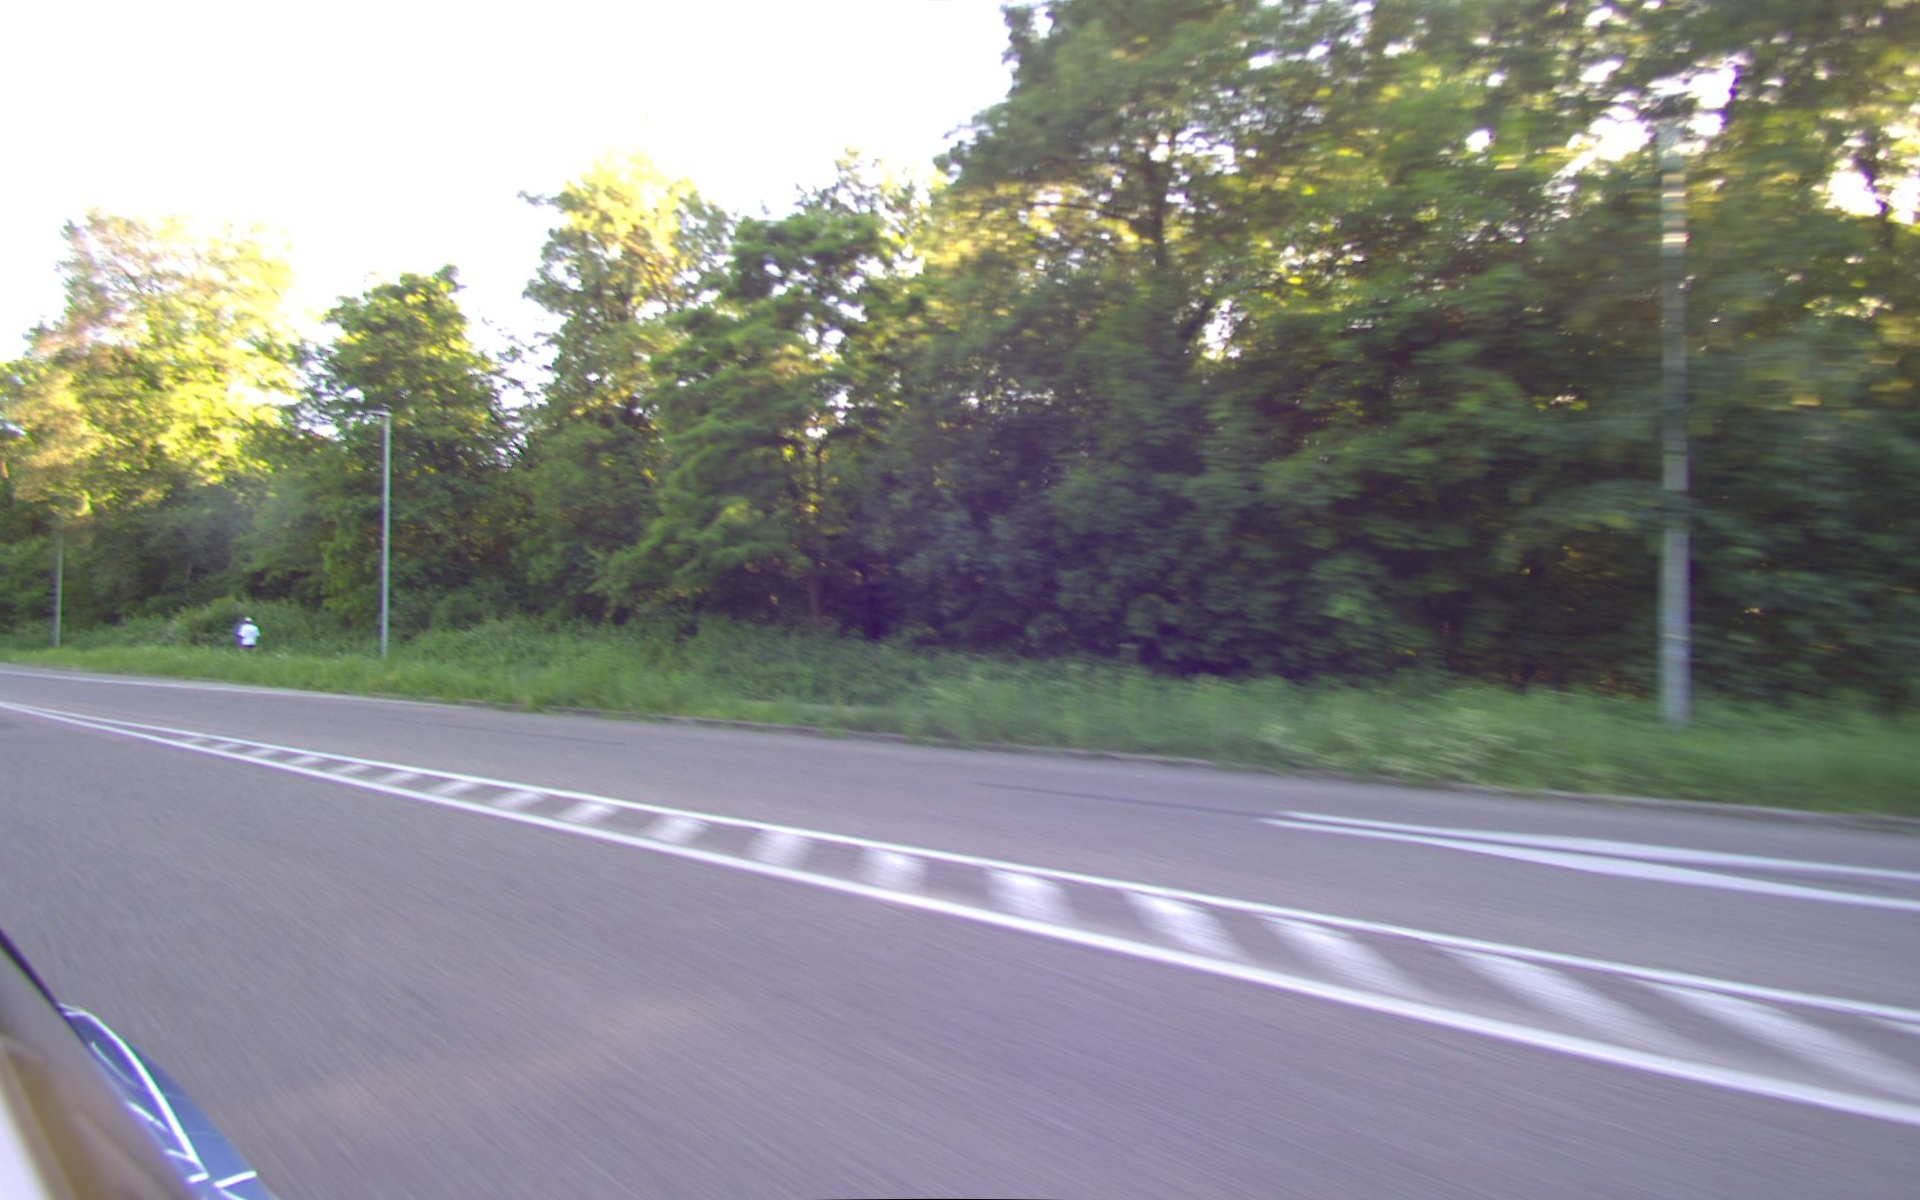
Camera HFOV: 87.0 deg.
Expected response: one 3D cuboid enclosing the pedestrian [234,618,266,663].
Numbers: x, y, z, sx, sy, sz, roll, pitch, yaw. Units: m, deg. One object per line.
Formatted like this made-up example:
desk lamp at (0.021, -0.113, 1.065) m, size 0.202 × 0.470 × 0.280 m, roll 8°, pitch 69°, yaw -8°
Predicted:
pedestrian at (-25.706, 1.465, 36.635) m, size 0.825 × 1.577 × 0.704 m, roll -1°, pitch -3°, yaw 38°
